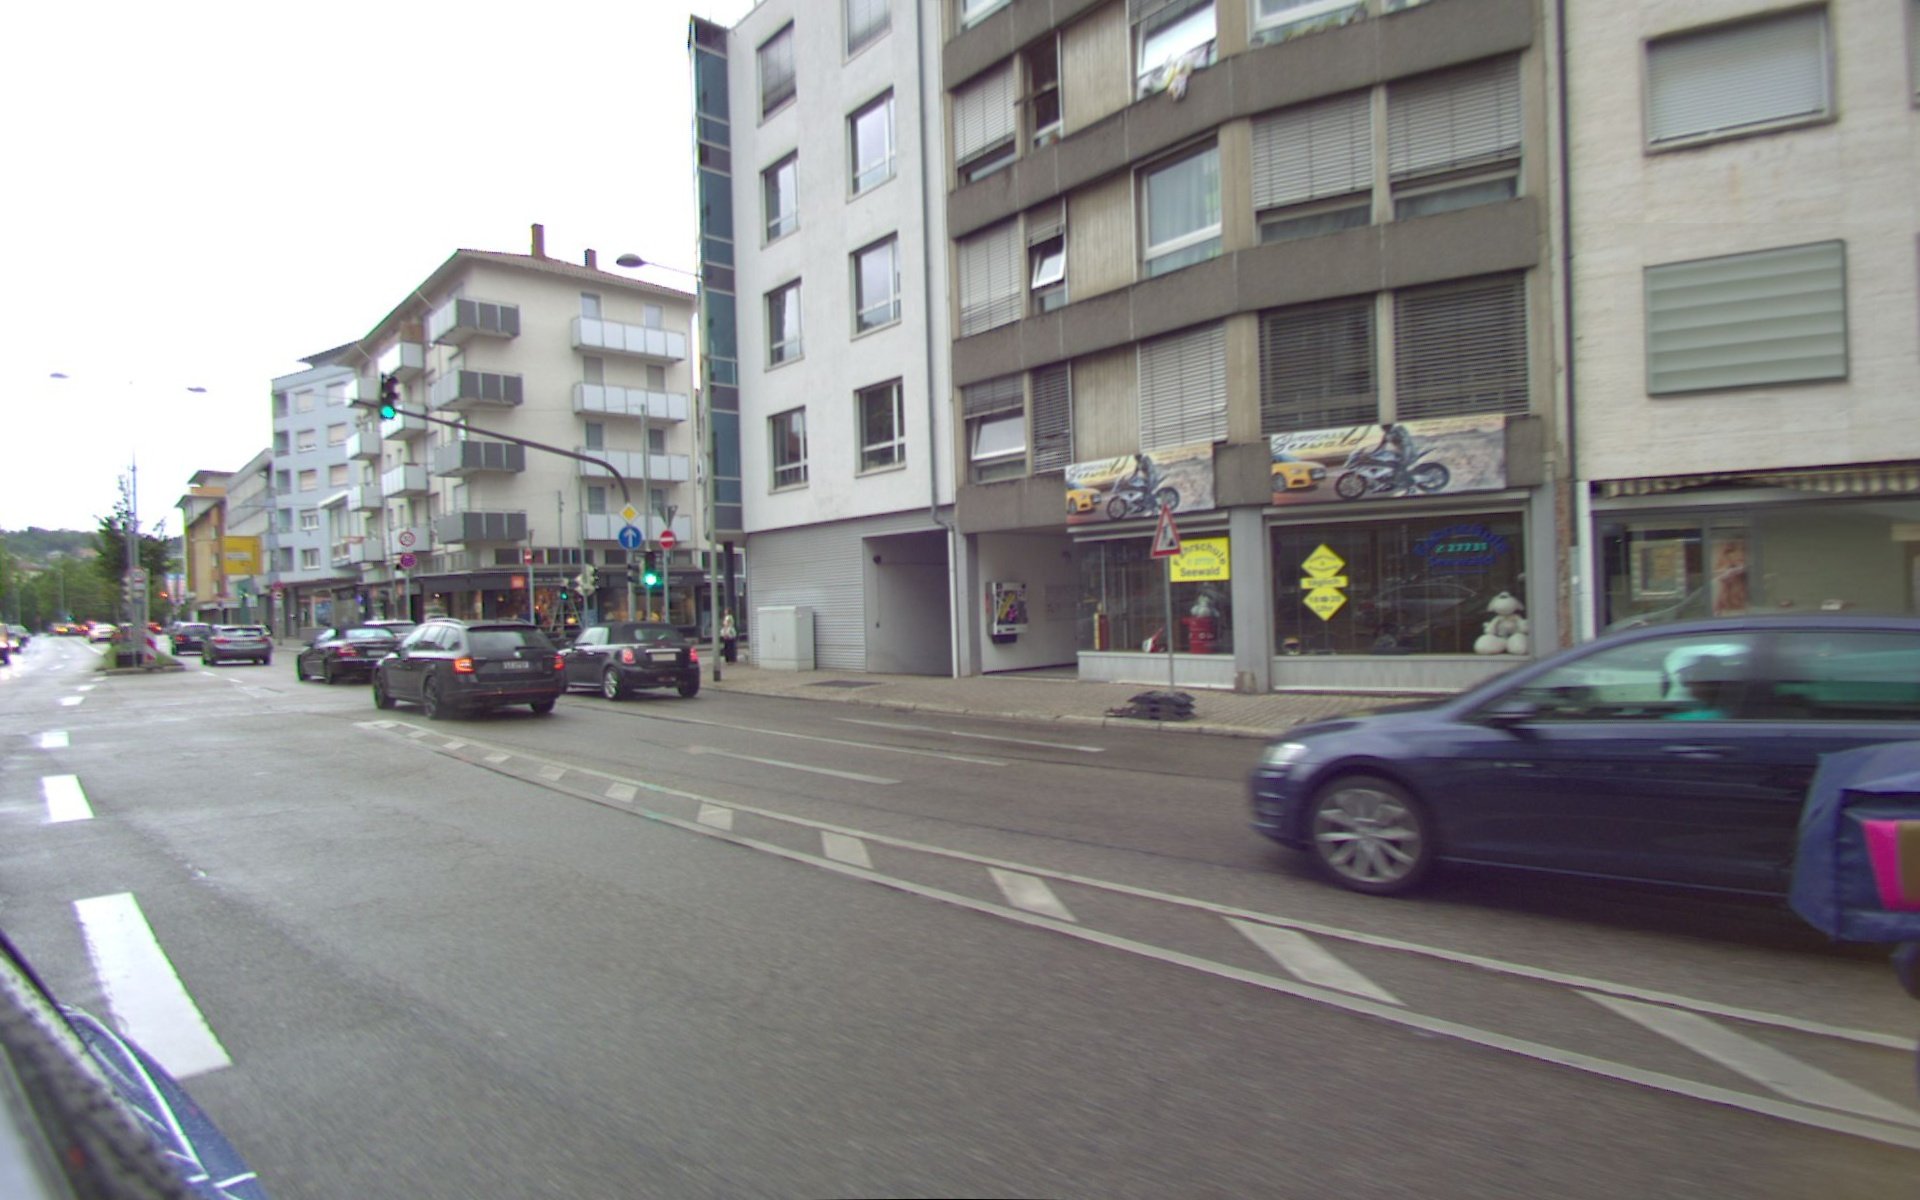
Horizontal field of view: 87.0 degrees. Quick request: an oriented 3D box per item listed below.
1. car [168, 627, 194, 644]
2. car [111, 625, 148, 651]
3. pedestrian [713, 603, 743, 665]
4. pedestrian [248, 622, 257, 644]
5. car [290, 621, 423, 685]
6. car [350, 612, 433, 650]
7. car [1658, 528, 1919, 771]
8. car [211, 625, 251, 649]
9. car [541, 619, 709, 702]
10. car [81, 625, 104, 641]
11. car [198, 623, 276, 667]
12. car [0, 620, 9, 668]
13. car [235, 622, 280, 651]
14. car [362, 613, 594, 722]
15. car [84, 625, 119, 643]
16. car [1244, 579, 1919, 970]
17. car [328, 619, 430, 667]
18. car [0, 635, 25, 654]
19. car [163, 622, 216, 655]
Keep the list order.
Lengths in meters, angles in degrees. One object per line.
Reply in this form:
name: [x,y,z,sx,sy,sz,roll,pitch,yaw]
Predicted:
car: [-74.135,3.387,96.315,1.750,1.601,4.032,1,-2,-40]
car: [-54.815,2.508,66.769,1.824,1.606,4.097,0,-1,-41]
pedestrian: [-6.213,0.907,27.131,0.616,1.620,0.833,-1,-1,-4]
pedestrian: [-56.060,2.586,80.203,0.505,1.701,0.532,1,0,-41]
car: [-14.835,1.222,24.764,1.803,1.376,4.607,1,-1,-44]
car: [-33.564,1.787,59.787,3.937,2.070,1.898,-1,-1,-41]
car: [9.240,0.365,8.884,5.117,2.029,2.101,0,3,35]
car: [-50.967,2.550,70.748,1.824,1.508,4.005,-4,1,-41]
car: [-6.430,1.081,19.250,1.701,1.410,3.598,1,-2,-43]
car: [-94.783,3.586,110.558,1.751,1.656,3.844,1,-3,-42]
car: [-26.783,1.616,37.431,1.830,1.485,4.654,0,-1,-42]
car: [-45.732,2.033,46.985,2.167,2.101,5.940,-2,1,-42]
car: [-39.729,2.031,57.192,1.750,1.535,4.291,-1,-1,-39]
car: [-7.709,0.979,15.966,1.960,1.470,4.489,1,-2,-44]
car: [-69.507,2.798,81.897,1.823,1.428,4.618,2,-3,-45]
car: [3.625,0.700,4.930,3.993,1.484,1.668,-1,-3,37]
car: [-19.143,1.383,33.249,1.906,1.485,4.608,2,-3,-43]
car: [-74.311,3.477,78.967,1.787,1.352,4.005,-4,2,-41]
car: [-38.641,1.924,50.743,1.807,1.555,4.289,-1,-1,-41]
